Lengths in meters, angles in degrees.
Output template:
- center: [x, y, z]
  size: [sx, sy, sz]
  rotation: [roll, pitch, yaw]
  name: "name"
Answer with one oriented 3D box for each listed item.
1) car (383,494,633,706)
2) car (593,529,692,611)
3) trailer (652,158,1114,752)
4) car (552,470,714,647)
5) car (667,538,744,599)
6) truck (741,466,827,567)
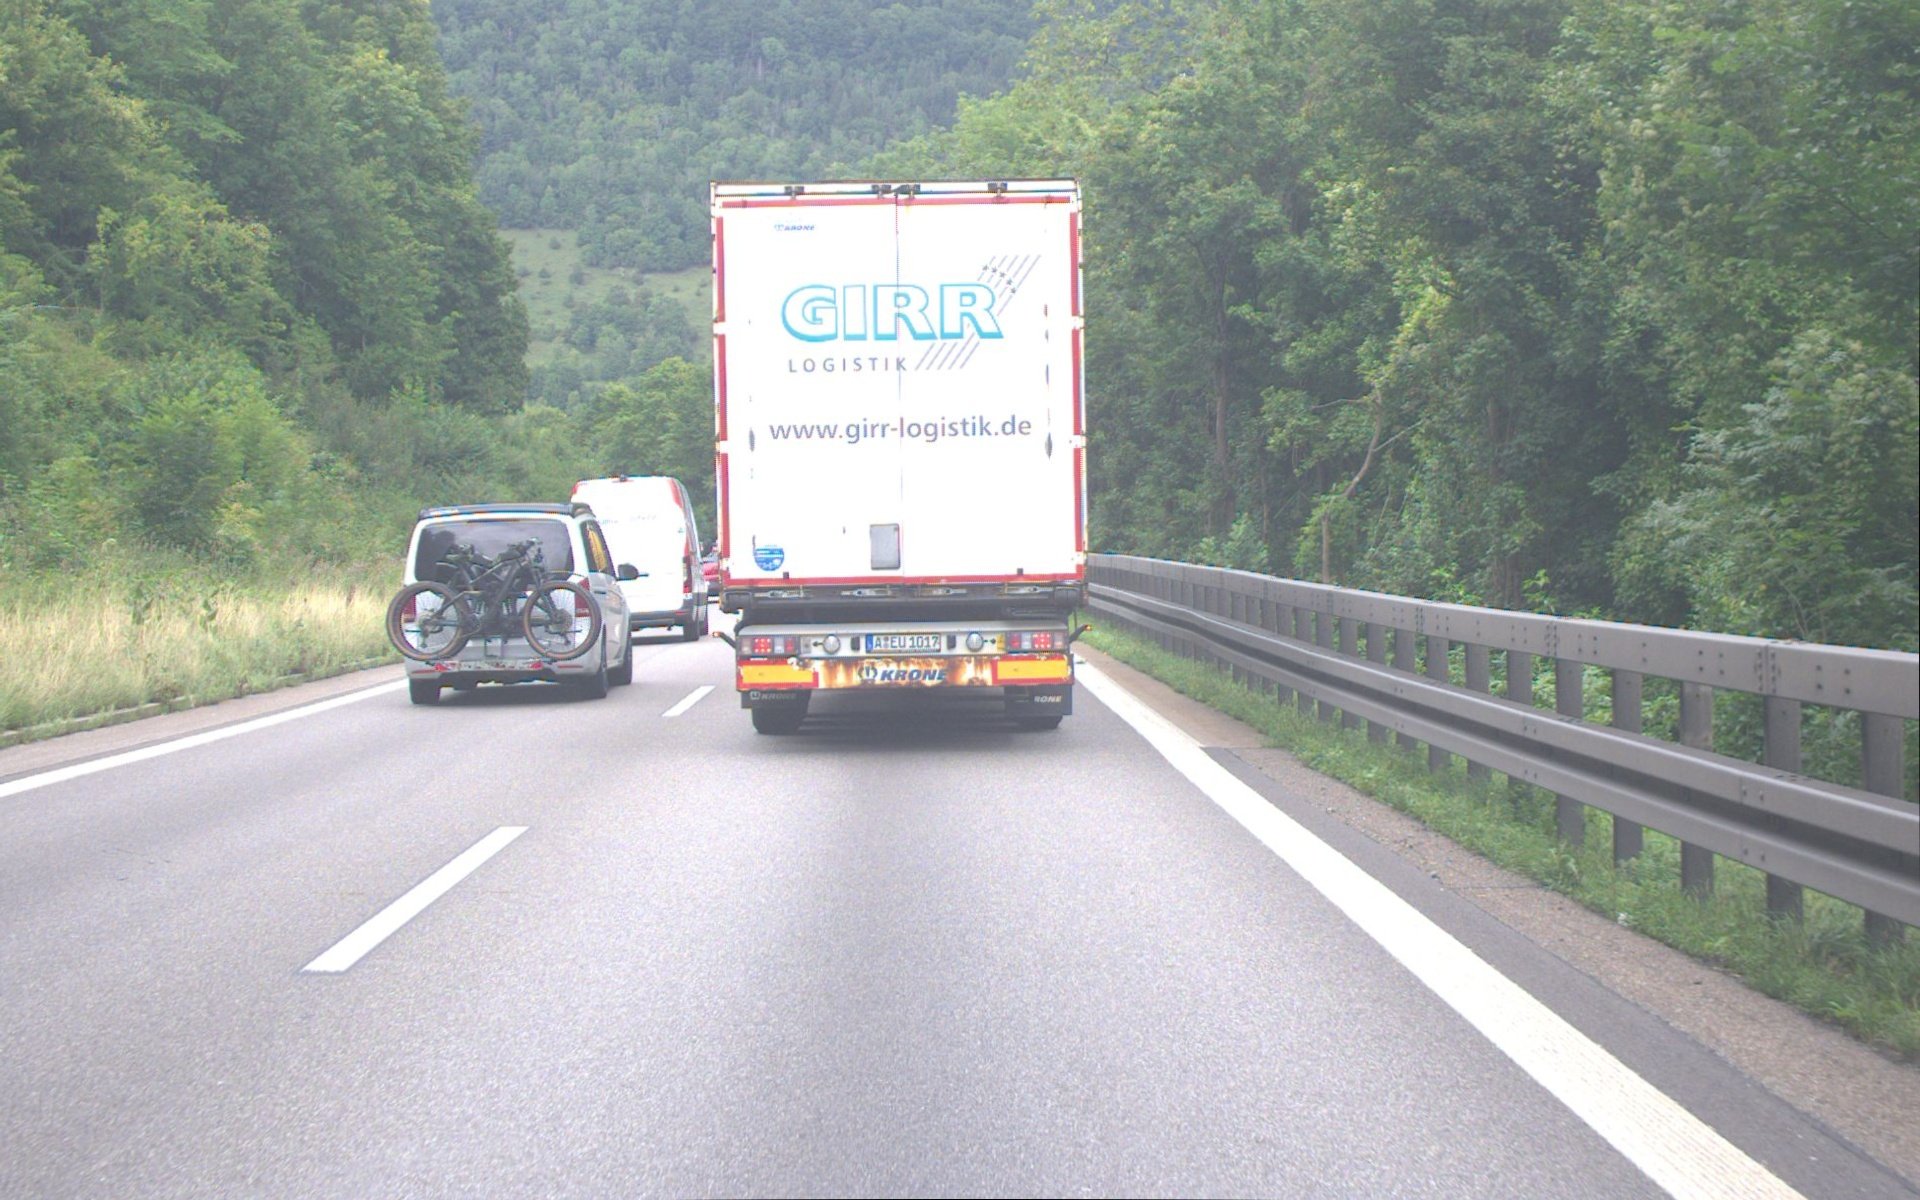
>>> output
- center: [-4.430, -0.056, 34.482]
  size: [2.018, 1.907, 5.564]
  rotation: [-1, 1, -3]
  name: "car"
- center: [-6.216, -0.593, 67.602]
  size: [1.683, 1.509, 3.765]
  rotation: [-1, 1, -2]
  name: "car"
- center: [-0.558, -1.077, 28.069]
  size: [3.133, 4.029, 9.440]
  rotation: [0, 1, 0]
  name: "trailer"
- center: [-5.151, -0.683, 54.843]
  size: [2.123, 2.589, 5.564]
  rotation: [-2, 1, -2]
  name: "car"
- center: [-6.468, -0.813, 87.696]
  size: [1.683, 1.447, 3.765]
  rotation: [-2, 1, -1]
  name: "car"
- center: [-7.153, -3.306, 138.596]
  size: [3.068, 3.864, 8.460]
  rotation: [-1, 1, -5]
  name: "truck"
